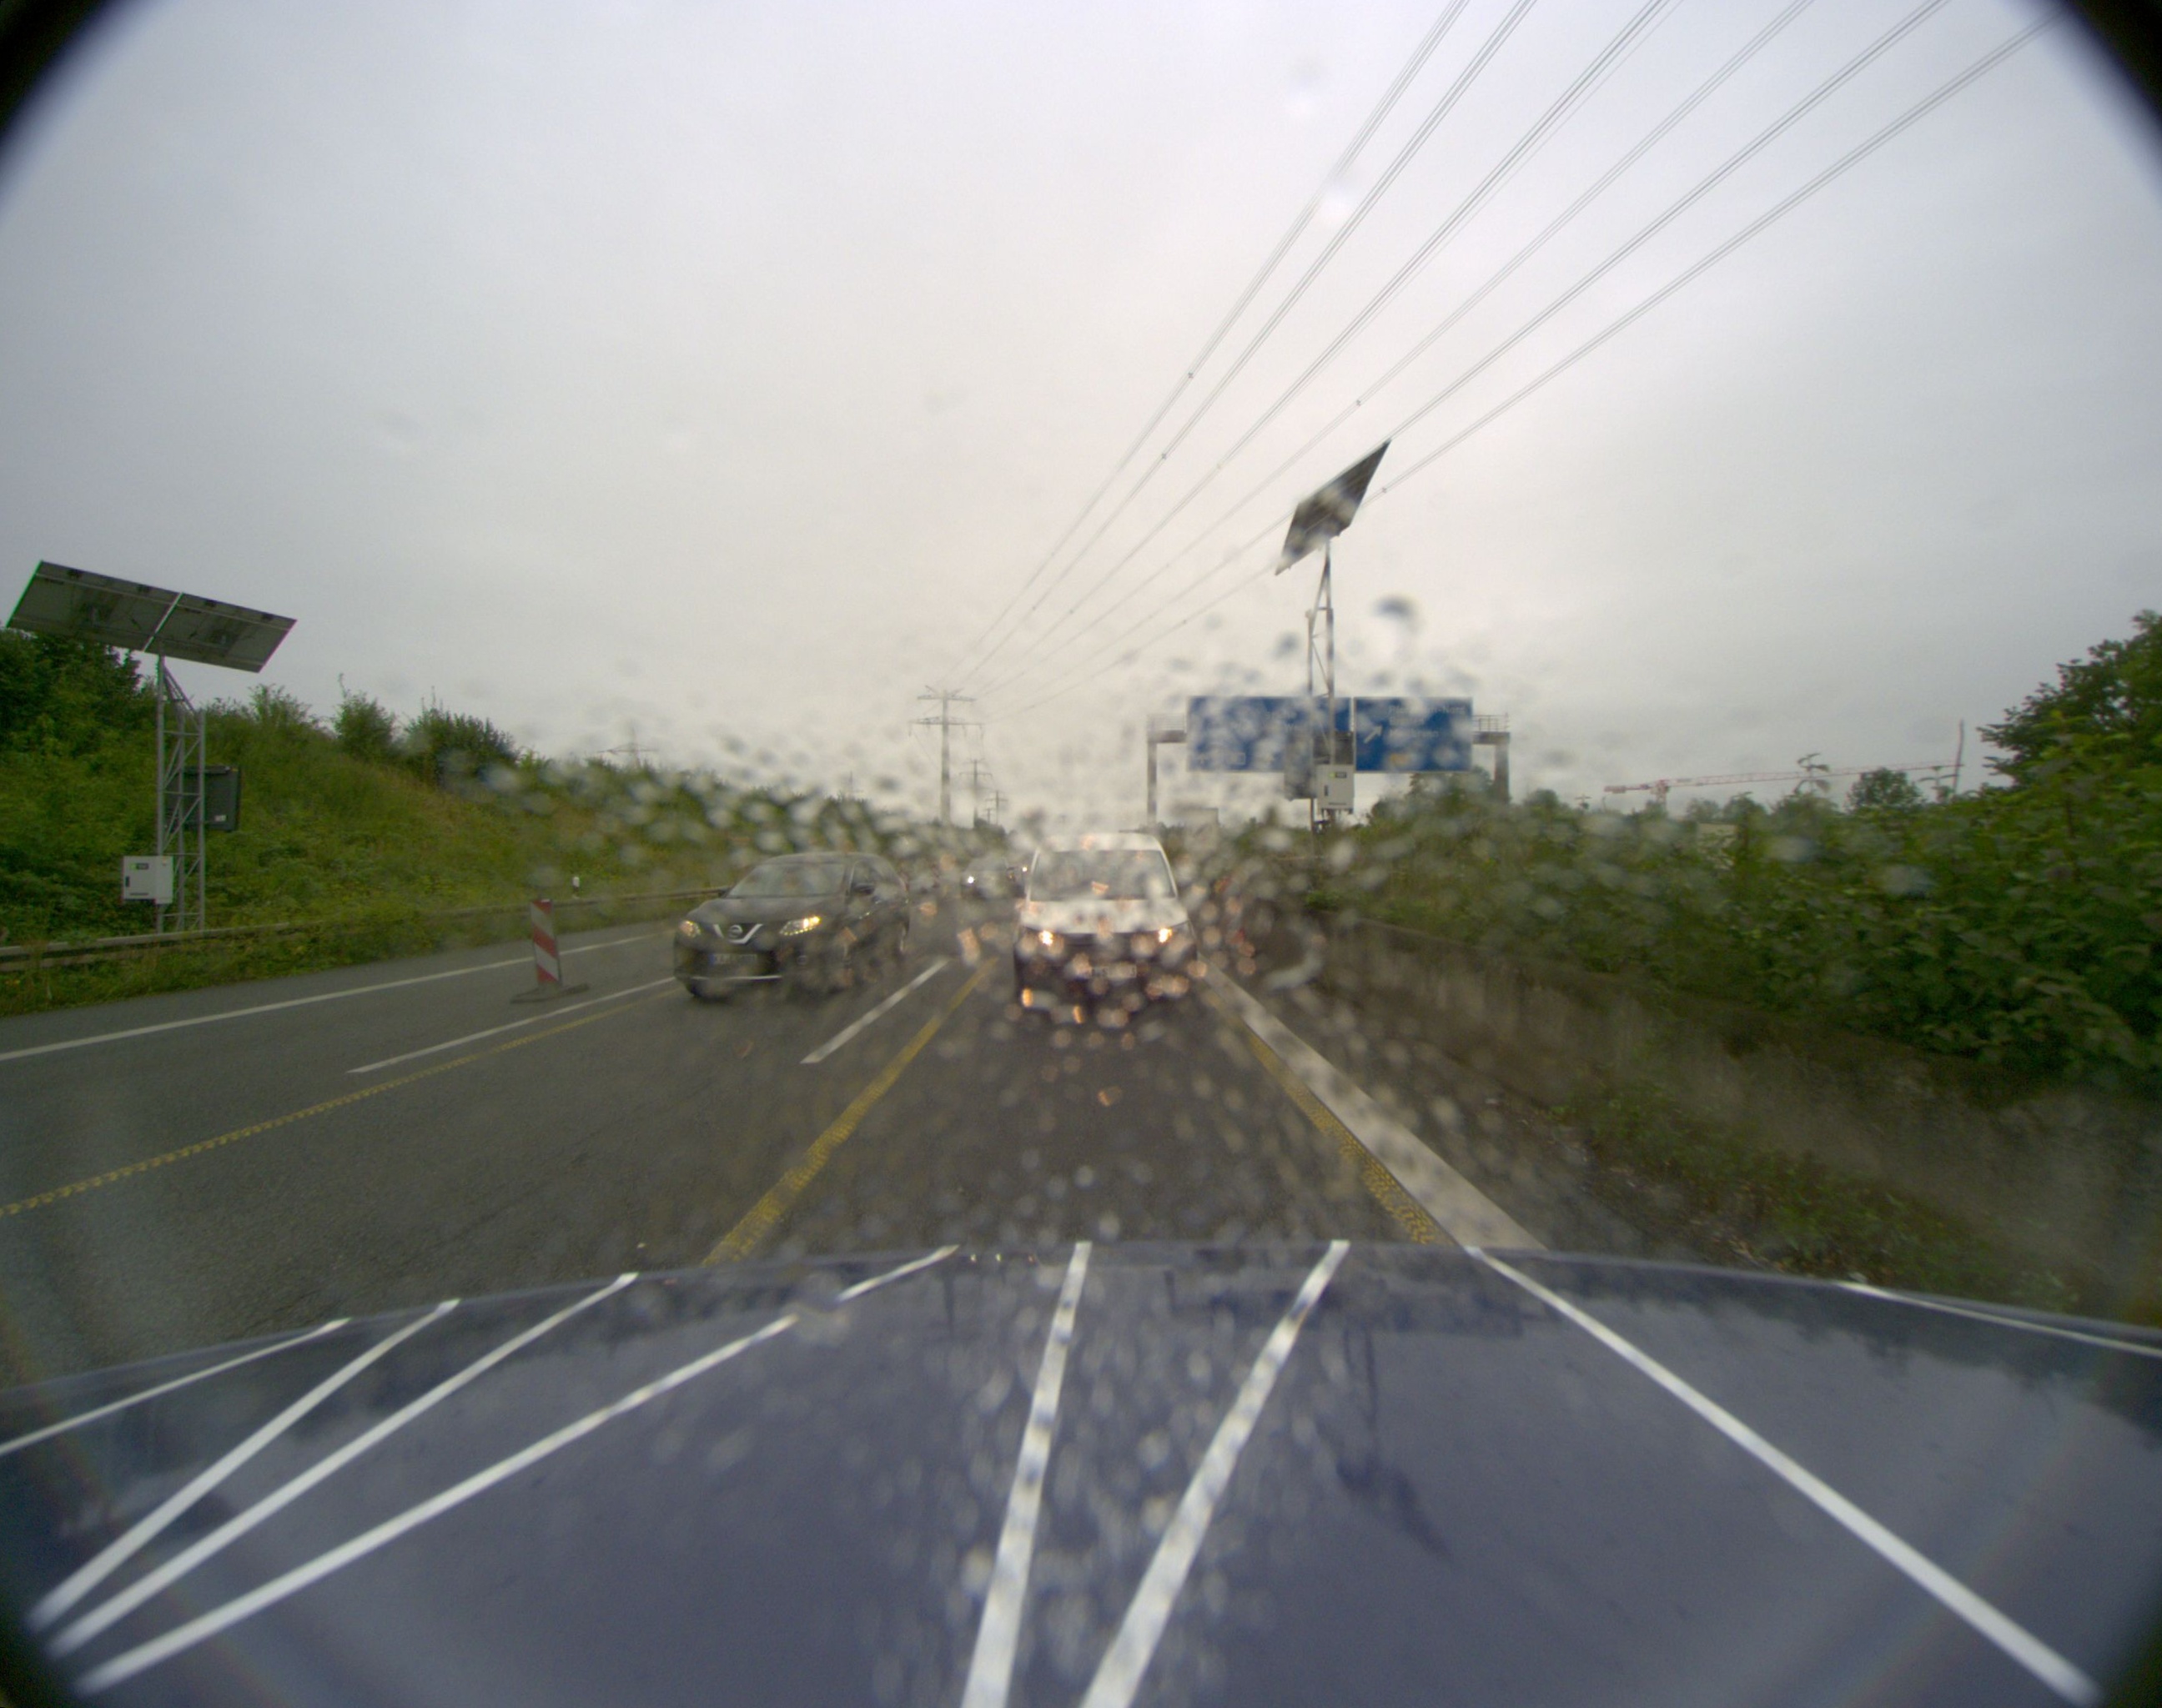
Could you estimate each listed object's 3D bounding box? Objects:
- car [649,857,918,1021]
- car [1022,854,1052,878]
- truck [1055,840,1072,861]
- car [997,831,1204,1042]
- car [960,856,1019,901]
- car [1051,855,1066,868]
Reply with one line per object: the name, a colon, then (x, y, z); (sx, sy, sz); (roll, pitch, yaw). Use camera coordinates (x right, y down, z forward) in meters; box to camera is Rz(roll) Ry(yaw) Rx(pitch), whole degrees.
car: (-3.560, 0.896, 10.058); (1.688, 1.649, 4.281); (-1, 0, 2)
car: (-2.868, 0.779, 50.482); (1.804, 1.432, 4.149); (-2, 0, -1)
truck: (-3.408, -0.717, 150.074); (2.875, 4.007, 8.308); (-1, 0, 1)
car: (0.190, 0.717, 8.821); (1.768, 1.803, 4.345); (-2, 0, 0)
car: (-3.451, 0.889, 29.429); (1.804, 1.523, 4.149); (-2, 0, -1)
car: (-2.866, 0.937, 97.715); (1.804, 1.598, 4.149); (-2, 0, -1)
